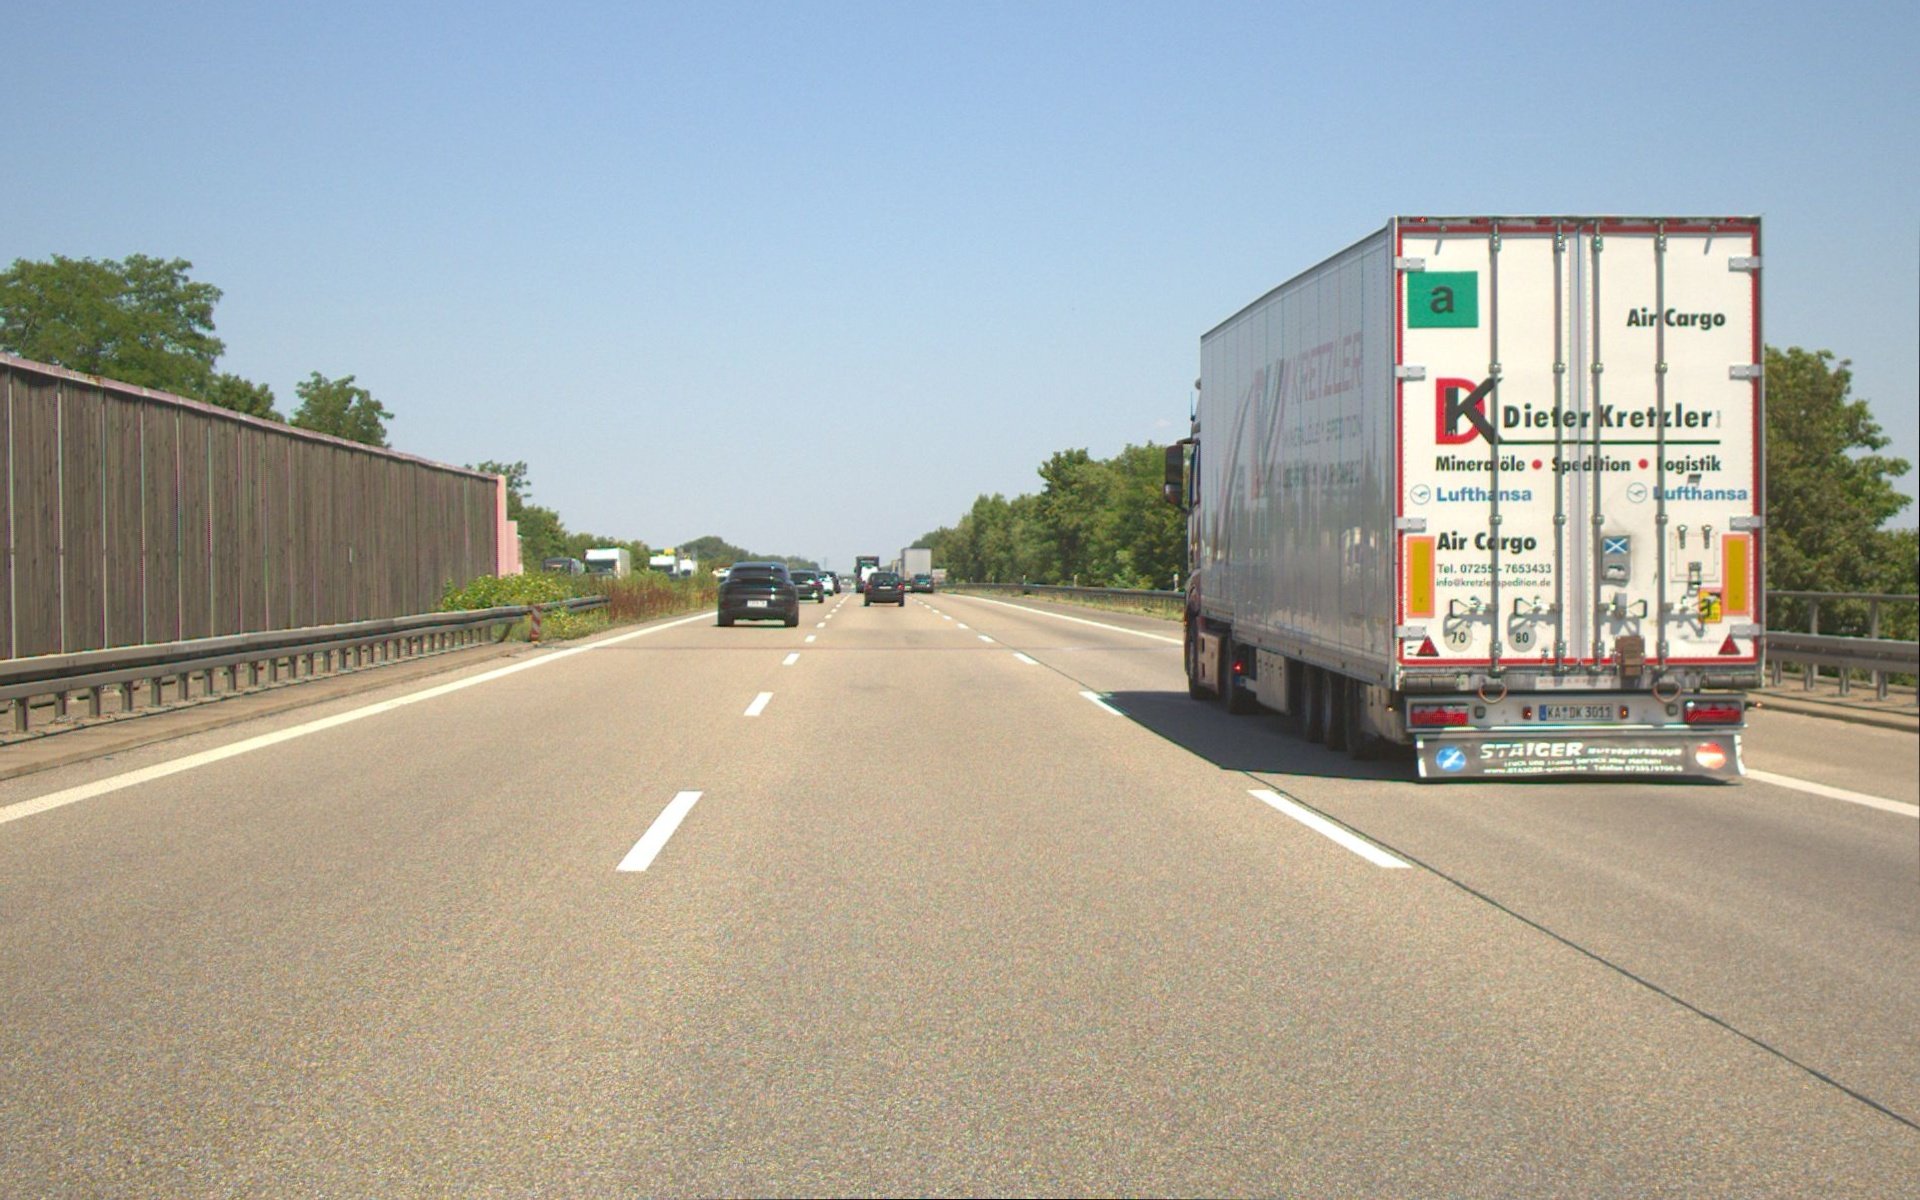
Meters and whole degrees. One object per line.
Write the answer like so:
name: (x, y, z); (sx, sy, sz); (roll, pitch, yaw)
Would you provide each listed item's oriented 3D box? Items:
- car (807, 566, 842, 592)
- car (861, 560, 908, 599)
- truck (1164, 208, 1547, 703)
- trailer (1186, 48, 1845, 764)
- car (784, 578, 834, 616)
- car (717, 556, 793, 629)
car: (-8.648, -1.348, 219.368); (2.128, 1.640, 4.304); (-1, 0, -1)
car: (-3.158, -0.852, 144.209); (1.903, 1.578, 4.304); (-1, 0, -1)
truck: (4.120, -1.495, 37.530); (3.234, 4.872, 6.972); (0, 1, -1)
trailer: (4.220, -1.448, 30.289); (3.269, 4.821, 14.030); (0, 1, -1)
car: (-6.882, -0.141, 156.940); (2.128, 1.640, 4.304); (-1, 0, -1)
car: (-5.197, -0.217, 87.662); (1.880, 1.786, 4.001); (0, 1, -3)
